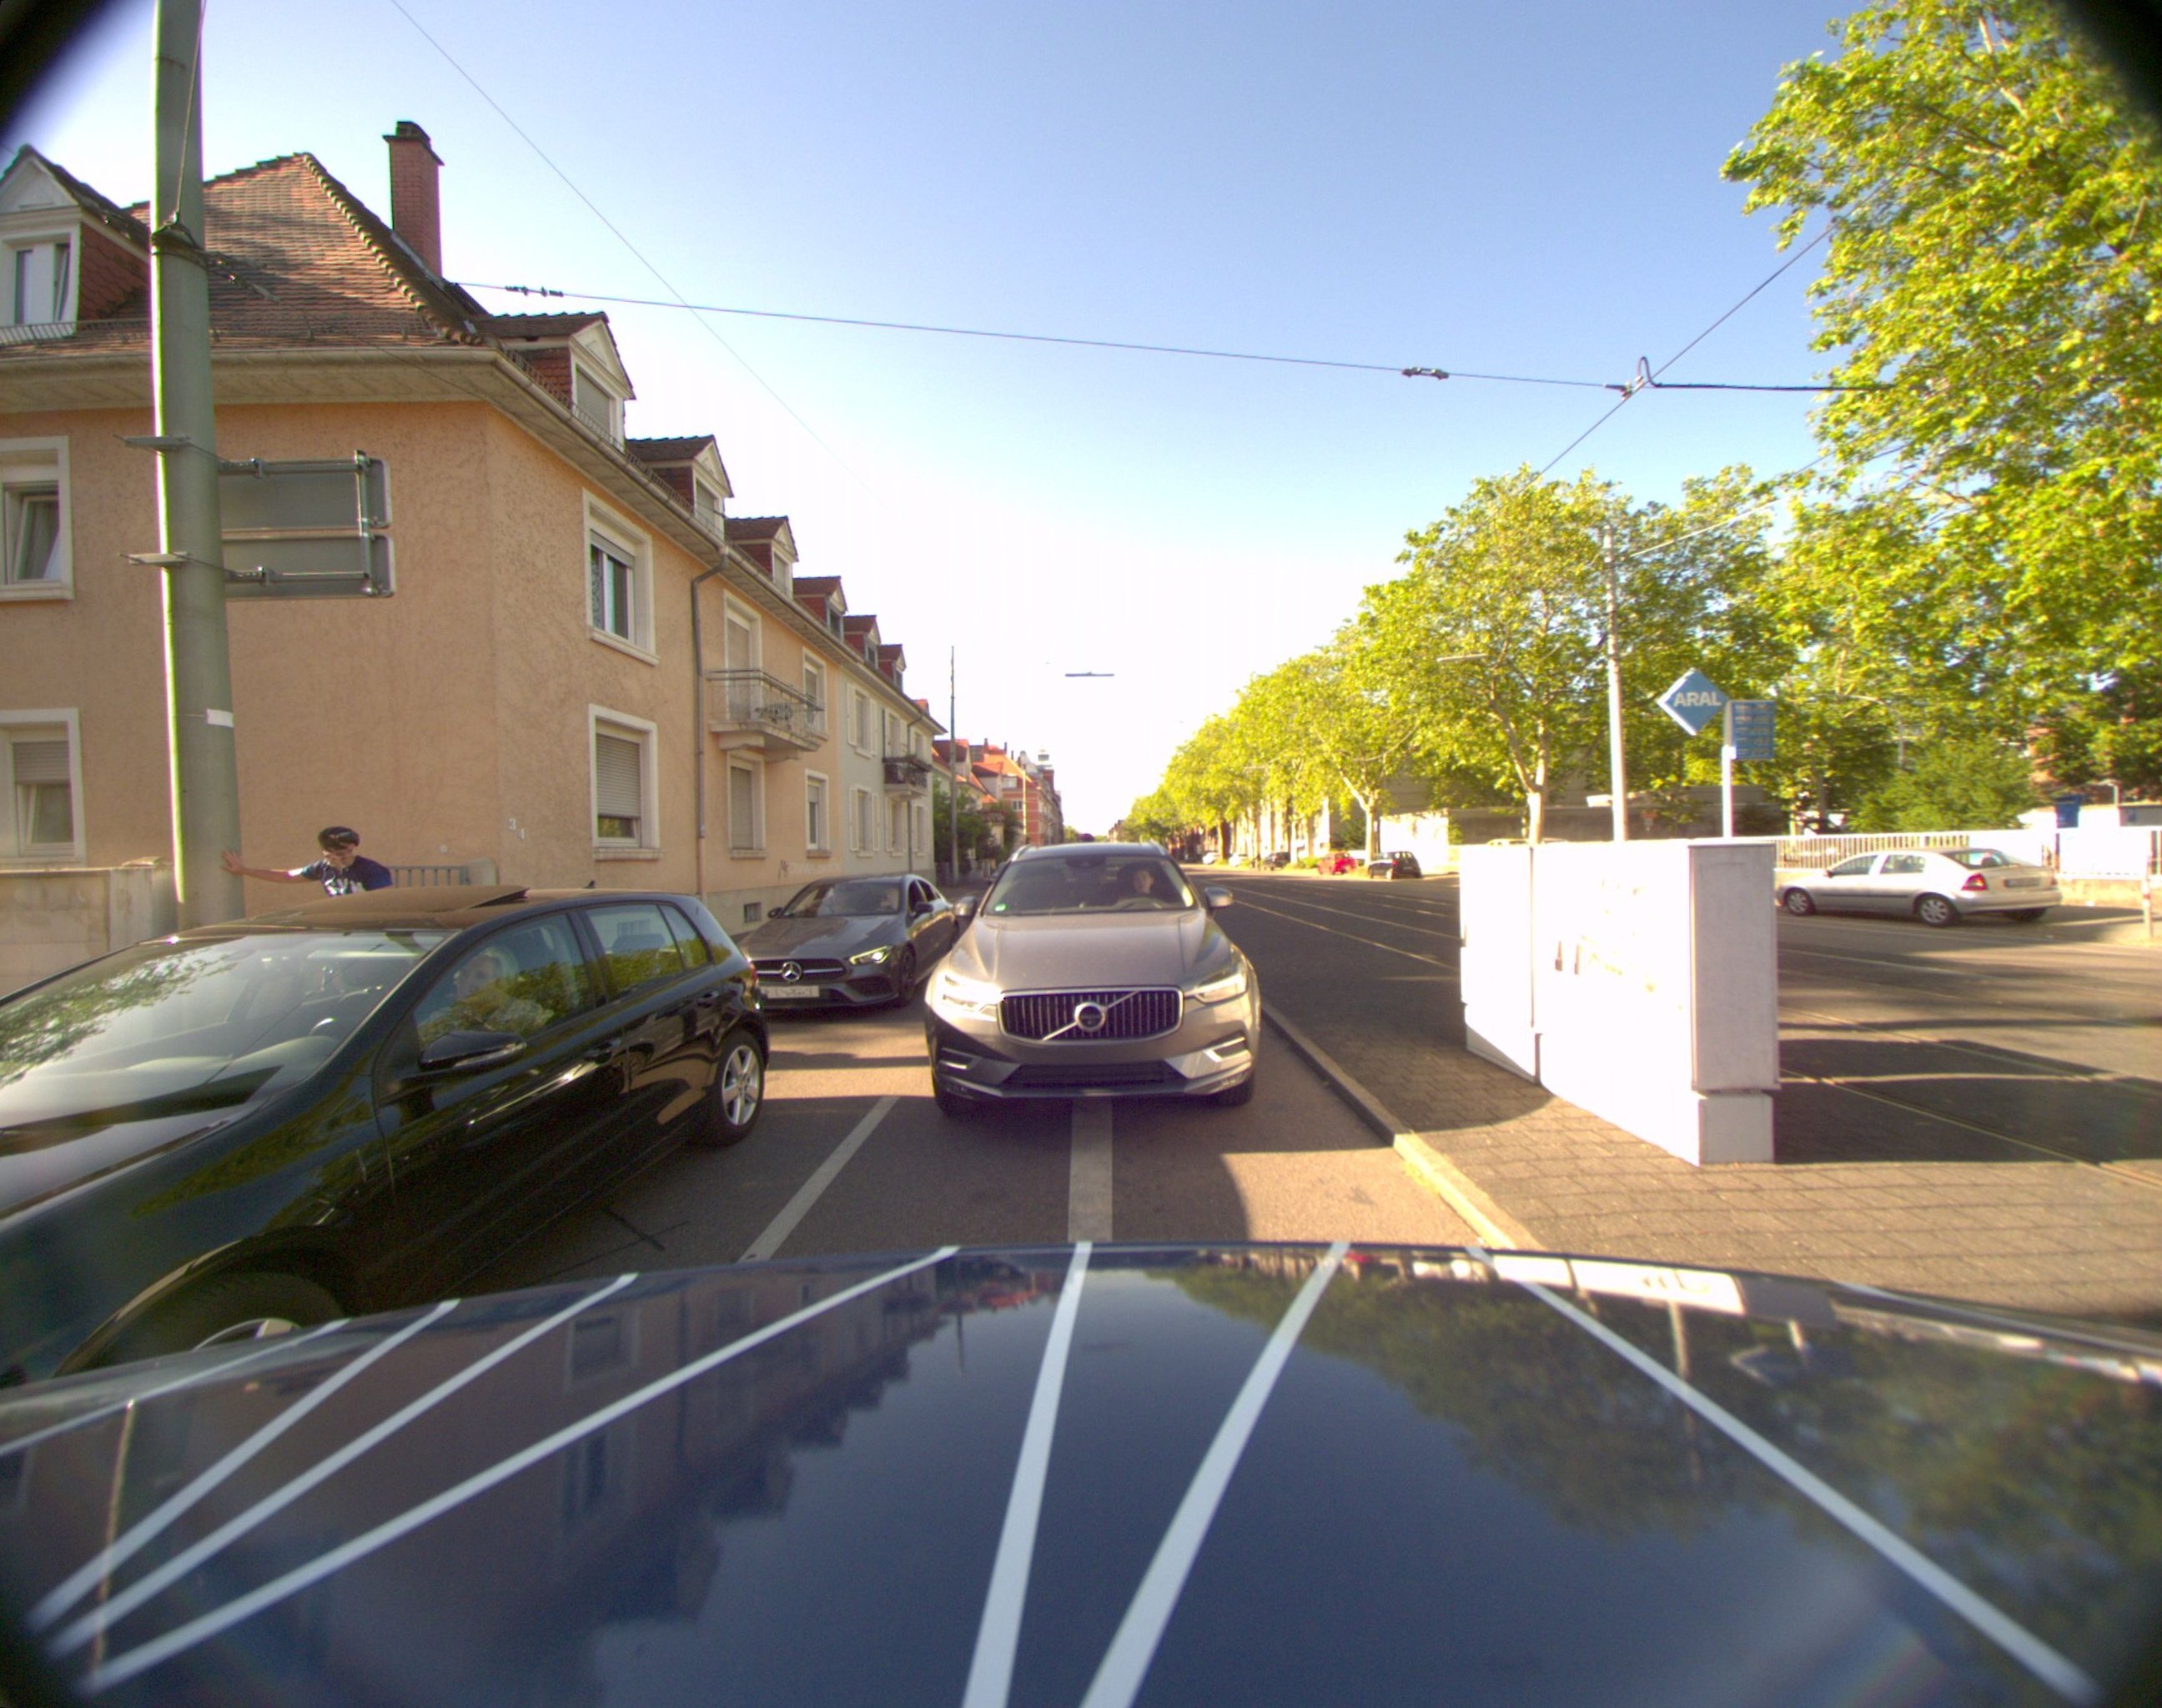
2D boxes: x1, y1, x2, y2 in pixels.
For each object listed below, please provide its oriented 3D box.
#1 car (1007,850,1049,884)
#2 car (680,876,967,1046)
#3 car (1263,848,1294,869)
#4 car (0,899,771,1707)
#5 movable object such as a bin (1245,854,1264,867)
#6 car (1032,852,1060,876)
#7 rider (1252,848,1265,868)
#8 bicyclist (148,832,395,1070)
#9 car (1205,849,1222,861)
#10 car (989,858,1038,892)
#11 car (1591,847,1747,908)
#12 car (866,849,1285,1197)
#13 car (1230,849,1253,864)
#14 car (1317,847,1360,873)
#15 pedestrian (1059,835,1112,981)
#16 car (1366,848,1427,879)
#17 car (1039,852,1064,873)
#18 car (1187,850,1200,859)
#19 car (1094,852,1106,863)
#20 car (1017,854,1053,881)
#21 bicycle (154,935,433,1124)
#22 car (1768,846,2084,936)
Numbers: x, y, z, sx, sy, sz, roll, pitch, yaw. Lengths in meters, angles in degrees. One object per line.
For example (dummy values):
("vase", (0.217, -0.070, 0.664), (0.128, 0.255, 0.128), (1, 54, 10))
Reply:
("car", (-2.903, 0.692, 42.383), (1.825, 1.701, 4.334), (-2, 1, 1))
("car", (-2.706, 1.050, 9.231), (1.825, 1.422, 4.491), (-2, -1, 1))
("car", (17.099, 0.338, 65.950), (1.754, 1.582, 3.878), (-5, 1, 3))
("car", (-2.798, 1.046, 2.631), (1.717, 1.430, 3.990), (-2, 1, 1))
("movable object such as a bin", (14.822, 0.549, 65.098), (1.178, 1.097, 1.834), (-2, 1, 0))
("car", (-2.777, 0.777, 60.902), (1.825, 1.701, 4.334), (-2, 1, 1))
("rider", (14.885, 0.326, 63.765), (0.725, 1.639, 1.106), (-2, 1, 0))
("bicyclist", (-6.119, 0.705, 5.807), (1.021, 1.684, 0.729), (2, 0, -7))
("car", (17.581, 0.105, 100.670), (1.661, 1.452, 3.730), (-5, 1, 3))
("car", (-3.226, 0.967, 37.128), (1.825, 1.422, 4.334), (-2, 1, 1))
("car", (16.366, 0.602, 21.395), (1.619, 1.436, 3.606), (-5, 1, 3))
("car", (0.124, 0.800, 5.767), (1.924, 1.579, 4.387), (-2, 1, 4))
("car", (17.625, 0.249, 83.455), (1.754, 1.532, 3.878), (-5, 1, 3))
("car", (16.923, 0.373, 50.066), (1.661, 1.486, 3.377), (-5, 1, 3))
("pedestrian", (0.061, 0.683, 9.950), (0.609, 1.832, 0.599), (-2, 1, 1))
("car", (16.838, 0.450, 40.743), (1.723, 1.436, 3.769), (-5, 1, 3))
("car", (-2.589, 0.699, 67.268), (1.825, 1.701, 4.334), (-2, 1, 1))
("car", (18.561, 0.063, 125.545), (1.661, 1.452, 3.730), (-5, 1, 3))
("car", (3.276, 0.561, 130.332), (1.851, 1.640, 3.999), (-2, 1, 1))
("car", (-2.798, 0.802, 46.998), (1.825, 1.424, 4.334), (-2, 1, 1))
("bicycle", (-5.905, 1.256, 5.843), (0.556, 1.069, 1.624), (2, 0, -7))
("car", (16.203, 0.631, 14.941), (1.687, 1.358, 3.989), (-6, 0, 1))
